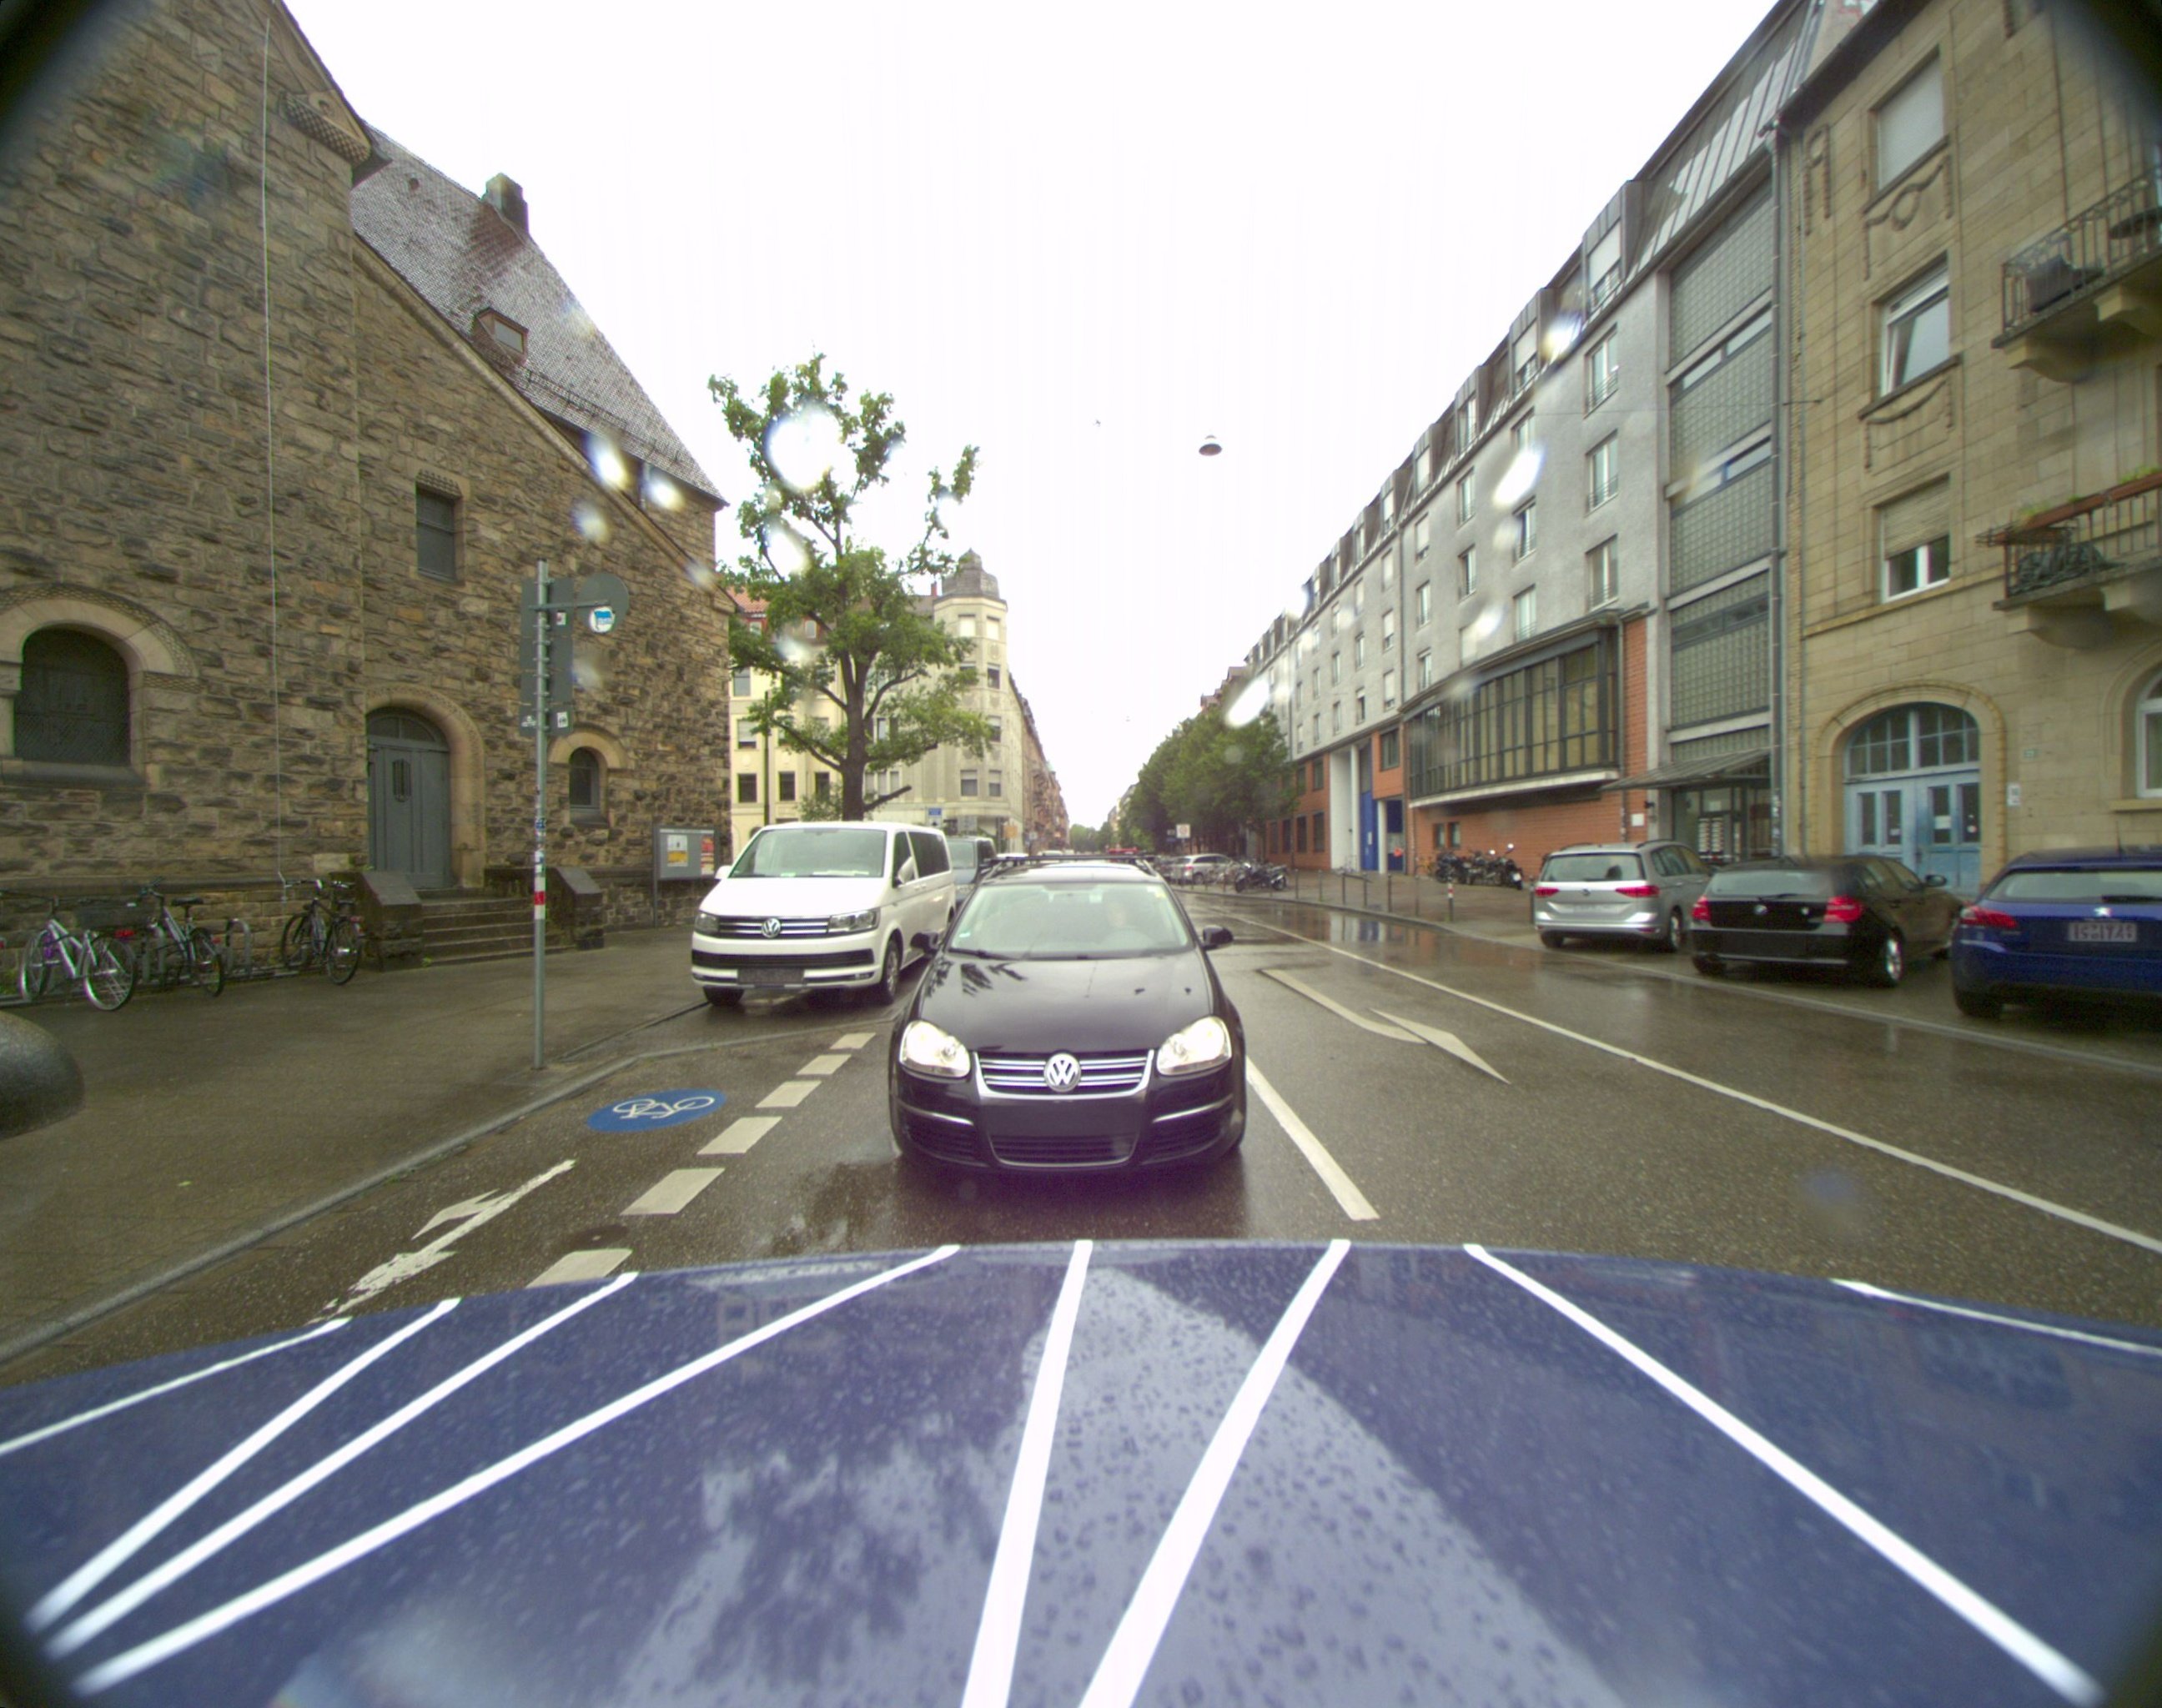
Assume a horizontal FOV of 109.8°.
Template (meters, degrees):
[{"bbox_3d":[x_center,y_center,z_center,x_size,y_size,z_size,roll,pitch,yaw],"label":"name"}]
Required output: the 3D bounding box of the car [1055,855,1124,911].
[{"bbox_3d":[0.243,0.742,21.339,1.766,1.430,3.748,0,0,1],"label":"car"}]

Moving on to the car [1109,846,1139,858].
[{"bbox_3d":[6.165,-0.247,108.292,3.809,1.705,1.995,0,1,-33],"label":"car"}]

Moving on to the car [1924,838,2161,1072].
[{"bbox_3d":[9.328,0.713,6.644,3.732,1.519,1.897,-4,2,-30],"label":"car"}]

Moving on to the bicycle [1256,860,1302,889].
[{"bbox_3d":[8.138,0.836,31.283,1.688,1.067,0.544,-3,1,-2],"label":"bicycle"}]

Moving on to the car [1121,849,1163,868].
[{"bbox_3d":[6.488,0.467,80.533,4.006,2.002,1.995,0,1,-28],"label":"car"}]

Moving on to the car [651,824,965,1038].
[{"bbox_3d":[-2.827,0.677,9.389,1.909,1.911,5.272,0,0,1],"label":"car"}]

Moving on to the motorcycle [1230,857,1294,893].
[{"bbox_3d":[6.986,0.801,29.368,2.255,1.302,0.758,-2,1,1],"label":"motorcycle"}]

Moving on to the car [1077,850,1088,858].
[{"bbox_3d":[0.340,0.058,160.669,1.998,1.705,4.376,0,0,5],"label":"car"}]

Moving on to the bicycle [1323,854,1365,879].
[{"bbox_3d":[13.462,0.635,38.925,1.901,1.217,0.938,0,1,26],"label":"bicycle"}]

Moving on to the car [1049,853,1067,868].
[{"bbox_3d":[-1.978,0.527,65.517,1.356,1.285,3.013,0,0,1],"label":"car"}]

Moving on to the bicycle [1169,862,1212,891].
[{"bbox_3d":[4.722,0.949,32.822,1.688,1.067,0.544,-6,1,-2],"label":"bicycle"}]

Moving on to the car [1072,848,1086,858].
[{"bbox_3d":[-0.320,-0.134,125.150,1.998,1.705,3.803,0,0,5],"label":"car"}]

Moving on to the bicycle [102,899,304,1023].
[{"bbox_3d":[-8.885,1.022,7.677,2.150,1.054,0.679,0,1,22],"label":"bicycle"}]

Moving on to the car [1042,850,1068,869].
[{"bbox_3d":[-2.091,0.442,61.526,1.921,1.470,4.221,0,0,1],"label":"car"}]

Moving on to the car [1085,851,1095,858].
[{"bbox_3d":[2.100,0.055,175.415,1.998,1.705,4.376,0,0,5],"label":"car"}]

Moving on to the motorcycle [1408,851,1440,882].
[{"bbox_3d":[13.567,0.479,30.082,0.546,1.221,1.676,0,0,1],"label":"motorcycle"}]

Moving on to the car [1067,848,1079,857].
[{"bbox_3d":[-1.444,-0.250,139.227,1.998,1.705,3.803,0,0,5],"label":"car"}]

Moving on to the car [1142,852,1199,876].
[{"bbox_3d":[6.586,0.727,56.265,3.803,1.705,1.998,0,0,-10],"label":"car"}]

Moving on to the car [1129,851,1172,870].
[{"bbox_3d":[6.578,0.587,72.098,3.803,1.705,1.904,0,0,-10],"label":"car"}]

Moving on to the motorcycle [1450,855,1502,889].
[{"bbox_3d":[13.537,0.592,26.103,0.599,1.095,2.362,0,0,1],"label":"motorcycle"}]

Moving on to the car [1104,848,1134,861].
[{"bbox_3d":[4.881,0.082,98.035,3.799,1.705,2.000,0,0,1],"label":"car"}]

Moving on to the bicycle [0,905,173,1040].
[{"bbox_3d":[-9.324,1.043,7.052,1.923,1.054,0.582,0,1,22],"label":"bicycle"}]

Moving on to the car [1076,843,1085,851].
[{"bbox_3d":[-0.189,-1.622,183.695,1.837,1.827,4.001,0,0,5],"label":"car"}]

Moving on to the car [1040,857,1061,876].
[{"bbox_3d":[-2.154,0.881,54.286,1.356,1.285,3.013,0,0,1],"label":"car"}]

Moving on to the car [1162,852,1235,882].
[{"bbox_3d":[6.791,0.725,44.182,3.803,1.705,1.998,0,0,-10],"label":"car"}]

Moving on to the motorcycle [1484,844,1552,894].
[{"bbox_3d":[13.447,0.443,23.474,0.777,1.454,2.362,0,0,1],"label":"motorcycle"}]

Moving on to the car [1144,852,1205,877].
[{"bbox_3d":[6.462,0.717,52.847,3.803,1.705,1.998,0,0,-10],"label":"car"}]

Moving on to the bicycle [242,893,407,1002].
[{"bbox_3d":[-8.574,1.011,8.597,1.978,1.060,0.607,0,1,23],"label":"bicycle"}]

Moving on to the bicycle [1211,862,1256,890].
[{"bbox_3d":[6.282,0.907,31.303,1.688,1.067,0.544,-3,1,-2],"label":"bicycle"}]

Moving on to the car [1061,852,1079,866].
[{"bbox_3d":[-1.261,0.584,90.493,1.998,1.576,4.000,0,0,1],"label":"car"}]

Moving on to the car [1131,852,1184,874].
[{"bbox_3d":[6.001,0.705,60.156,3.803,1.705,1.998,0,0,-10],"label":"car"}]

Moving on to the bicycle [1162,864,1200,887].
[{"bbox_3d":[4.745,1.016,36.024,1.688,1.067,0.544,2,1,-2],"label":"bicycle"}]

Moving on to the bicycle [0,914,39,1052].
[{"bbox_3d":[-9.527,1.045,6.308,1.923,1.054,0.582,0,1,22],"label":"bicycle"}]

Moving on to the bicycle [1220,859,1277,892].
[{"bbox_3d":[6.680,0.857,30.339,2.049,1.165,0.773,-3,1,-2],"label":"bicycle"}]

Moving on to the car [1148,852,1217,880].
[{"bbox_3d":[6.292,0.743,47.260,3.803,1.705,1.998,0,0,-10],"label":"car"}]

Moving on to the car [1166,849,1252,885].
[{"bbox_3d":[6.632,0.642,39.466,4.005,1.804,1.996,0,1,-26],"label":"car"}]

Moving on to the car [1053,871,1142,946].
[{"bbox_3d":[0.316,0.994,15.073,1.547,1.214,3.608,0,0,1],"label":"car"}]

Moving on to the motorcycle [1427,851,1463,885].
[{"bbox_3d":[13.536,0.500,28.316,0.546,1.221,1.676,0,0,1],"label":"motorcycle"}]

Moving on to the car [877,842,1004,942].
[{"bbox_3d":[-2.794,0.690,16.091,1.837,1.835,4.295,0,0,1],"label":"car"}]

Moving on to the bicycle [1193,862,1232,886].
[{"bbox_3d":[6.069,0.926,35.068,1.688,1.067,0.544,-1,1,-2],"label":"bicycle"}]

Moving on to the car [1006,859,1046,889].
[{"bbox_3d":[-2.503,0.896,35.132,1.558,1.285,3.662,0,0,1],"label":"car"}]

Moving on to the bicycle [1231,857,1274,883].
[{"bbox_3d":[7.219,0.681,32.056,1.688,1.067,0.544,0,1,-2],"label":"bicycle"}]

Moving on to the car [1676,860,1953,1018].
[{"bbox_3d":[9.027,0.862,9.282,3.734,1.518,1.713,0,1,-34],"label":"car"}]

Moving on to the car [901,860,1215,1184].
[{"bbox_3d":[-0.085,0.848,5.784,1.547,1.553,4.070,0,0,1],"label":"car"}]

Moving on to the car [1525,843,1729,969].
[{"bbox_3d":[8.963,0.707,12.362,3.931,1.719,1.811,0,1,-41],"label":"car"}]

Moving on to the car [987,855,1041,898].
[{"bbox_3d":[-2.496,0.805,29.107,1.674,1.540,3.918,0,0,1],"label":"car"}]
